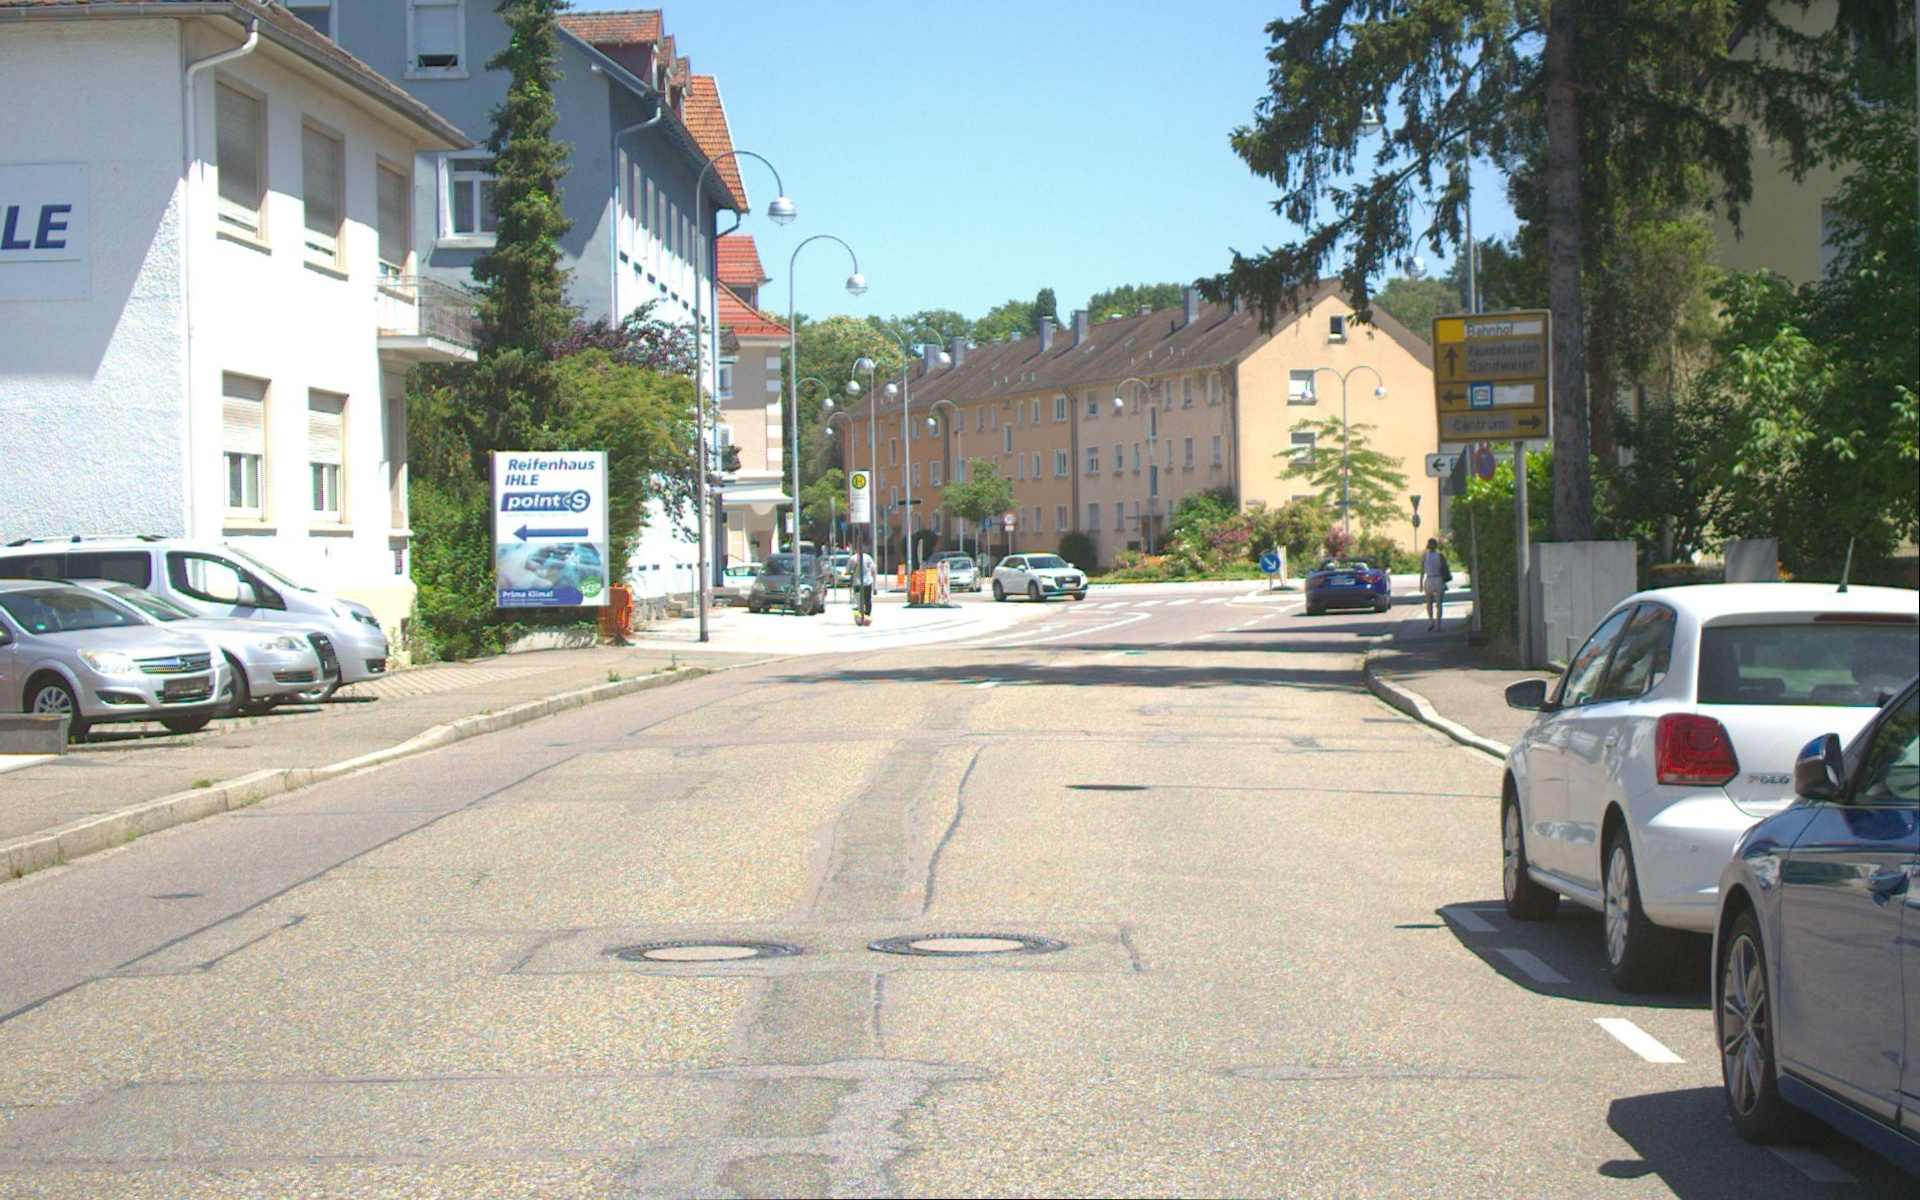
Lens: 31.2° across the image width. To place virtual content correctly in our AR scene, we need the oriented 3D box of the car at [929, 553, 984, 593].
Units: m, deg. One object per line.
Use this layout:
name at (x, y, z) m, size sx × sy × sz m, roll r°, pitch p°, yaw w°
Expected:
car at (-0.145, -1.069, 135.210) m, size 1.794 × 1.505 × 4.001 m, roll -2°, pitch 1°, yaw -4°

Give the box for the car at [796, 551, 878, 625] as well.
car at (-2.818, -0.286, 79.484) m, size 1.757 × 1.650 × 4.000 m, roll 0°, pitch 1°, yaw 0°

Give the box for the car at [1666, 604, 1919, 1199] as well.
car at (2.866, 0.754, 7.482) m, size 1.778 × 1.401 × 4.286 m, roll 1°, pitch 1°, yaw 0°

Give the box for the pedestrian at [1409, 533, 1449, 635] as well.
pedestrian at (8.278, -0.278, 60.662) m, size 0.689 × 1.764 × 0.691 m, roll 0°, pitch -2°, yaw 7°

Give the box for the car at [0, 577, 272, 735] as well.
car at (-8.455, 0.472, 31.397) m, size 4.137 × 1.339 × 1.907 m, roll 0°, pitch 1°, yaw 35°

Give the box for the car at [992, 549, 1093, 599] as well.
car at (2.662, -0.852, 111.348) m, size 1.595 × 1.601 × 3.410 m, roll -1°, pitch 1°, yaw -33°

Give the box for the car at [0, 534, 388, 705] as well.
car at (-8.334, 0.192, 36.947) m, size 4.128 × 1.768 × 1.829 m, roll 0°, pitch 0°, yaw -3°

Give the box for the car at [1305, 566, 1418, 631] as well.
car at (9.590, -0.046, 81.834) m, size 1.796 × 1.505 × 3.996 m, roll 0°, pitch 0°, yaw 20°

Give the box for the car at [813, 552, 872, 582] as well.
car at (-6.257, -1.756, 182.067) m, size 1.794 × 1.505 × 4.001 m, roll -2°, pitch 1°, yaw -22°

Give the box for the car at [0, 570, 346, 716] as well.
car at (-8.353, 0.413, 34.302) m, size 4.128 × 1.389 × 1.829 m, roll 0°, pitch 1°, yaw 0°

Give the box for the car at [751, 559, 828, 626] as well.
car at (-4.313, -0.217, 87.337) m, size 1.757 × 1.650 × 4.000 m, roll 0°, pitch 1°, yaw 0°

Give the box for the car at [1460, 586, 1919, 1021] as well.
car at (3.128, 0.686, 13.561) m, size 1.725 × 1.415 × 4.014 m, roll 1°, pitch 1°, yaw 0°
